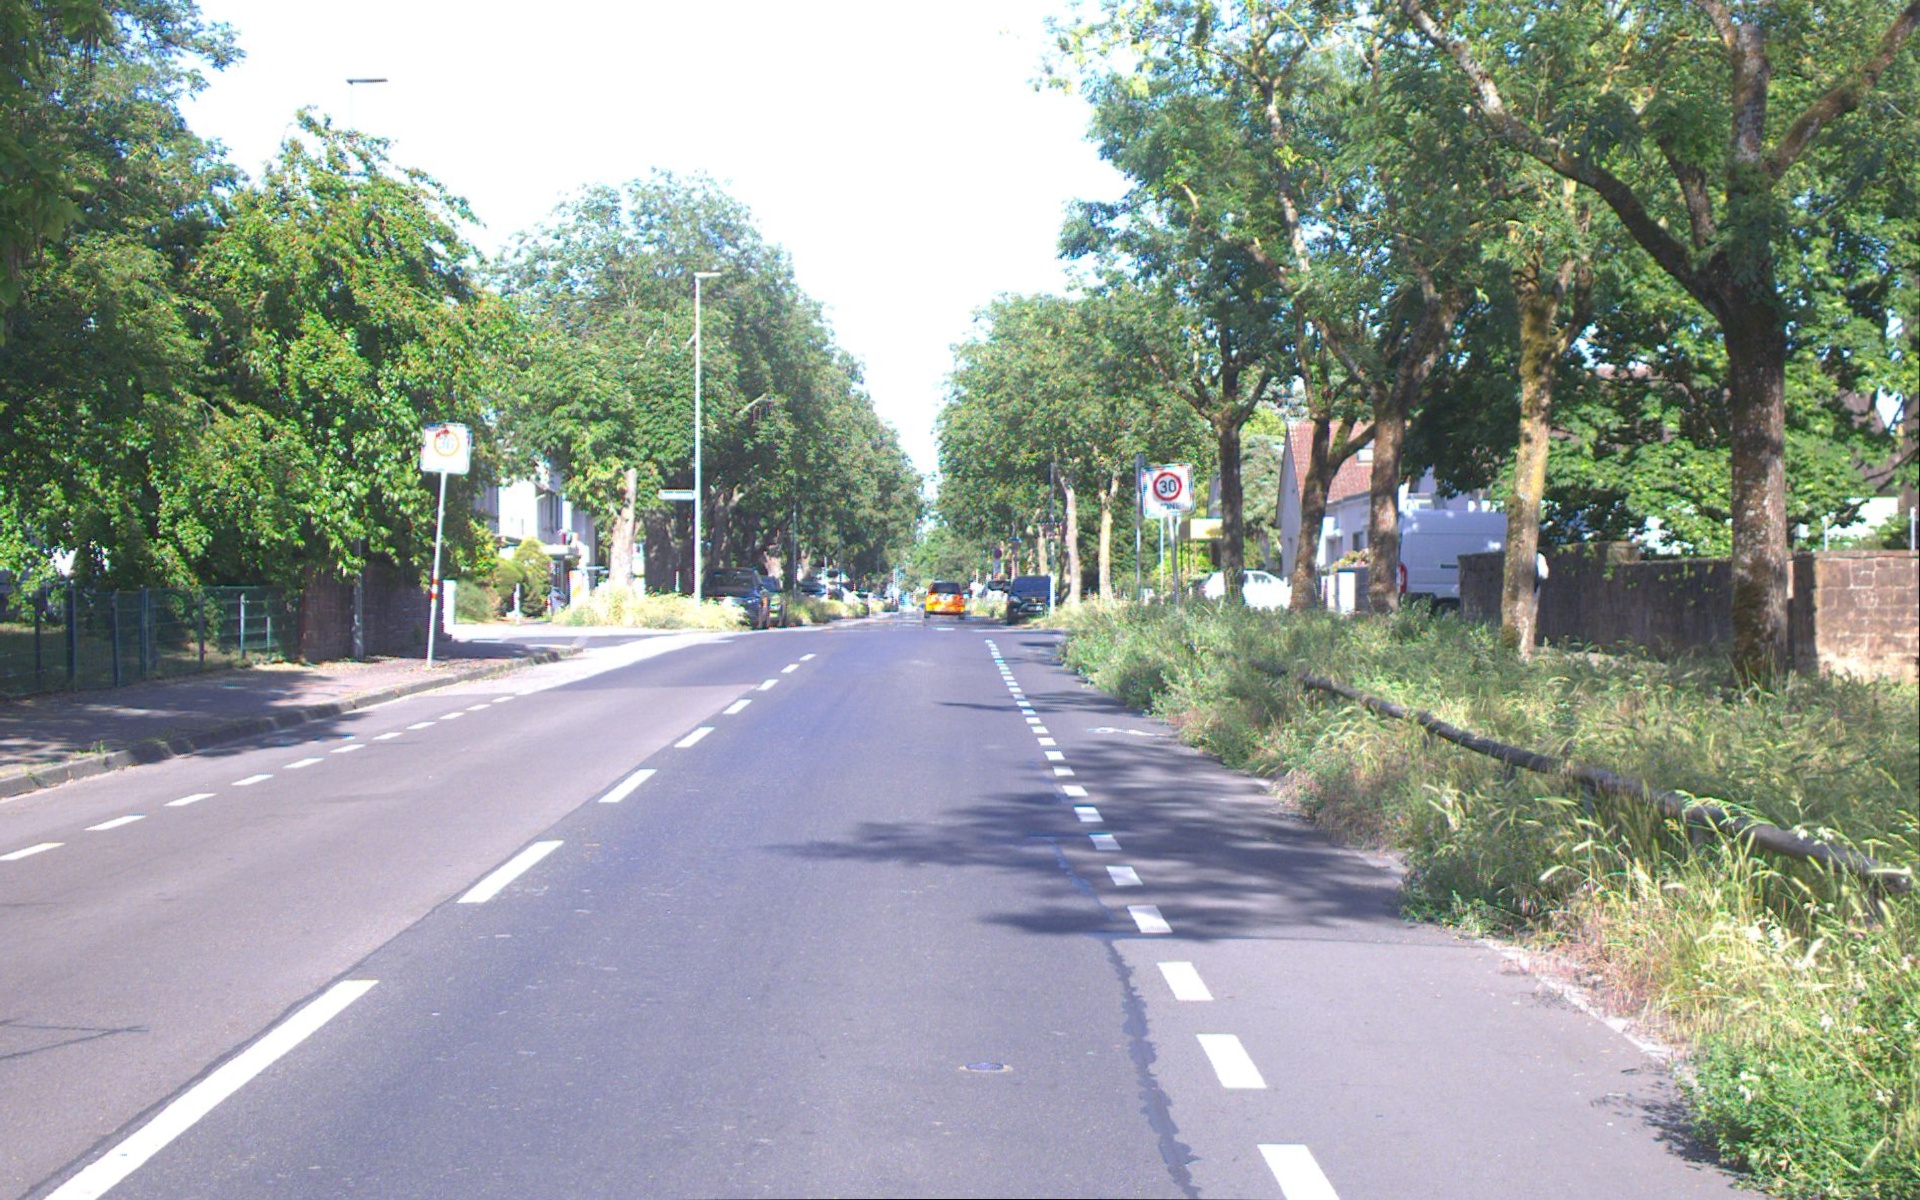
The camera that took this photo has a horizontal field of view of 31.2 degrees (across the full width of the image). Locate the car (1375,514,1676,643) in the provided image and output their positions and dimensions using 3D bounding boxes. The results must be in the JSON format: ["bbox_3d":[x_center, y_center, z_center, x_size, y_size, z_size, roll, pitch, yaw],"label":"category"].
[{"bbox_3d":[11.276,-0.422,68.793,5.594,2.530,2.266,0,0,-3],"label":"car"}]

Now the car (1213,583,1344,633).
[{"bbox_3d":[10.333,0.253,111.749,3.987,1.484,1.902,-2,1,-1],"label":"car"}]

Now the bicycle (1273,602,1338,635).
[{"bbox_3d":[10.900,0.582,108.570,1.958,0.995,0.576,-1,1,-1],"label":"bicycle"}]

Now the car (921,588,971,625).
[{"bbox_3d":[-0.594,0.280,145.766,1.888,1.474,3.888,2,-1,-3],"label":"car"}]

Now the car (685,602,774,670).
[{"bbox_3d":[-6.155,1.000,92.411,1.953,1.721,4.874,2,-1,1],"label":"car"}]

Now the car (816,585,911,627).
[{"bbox_3d":[-5.653,0.340,201.913,5.498,2.240,2.517,2,1,-2],"label":"car"}]

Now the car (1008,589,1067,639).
[{"bbox_3d":[2.685,0.503,119.846,1.853,1.620,4.469,-1,-1,0],"label":"car"}]

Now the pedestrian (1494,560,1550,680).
[{"bbox_3d":[8.088,0.283,49.510,0.637,1.700,0.612,-2,1,-1],"label":"pedestrian"}]
